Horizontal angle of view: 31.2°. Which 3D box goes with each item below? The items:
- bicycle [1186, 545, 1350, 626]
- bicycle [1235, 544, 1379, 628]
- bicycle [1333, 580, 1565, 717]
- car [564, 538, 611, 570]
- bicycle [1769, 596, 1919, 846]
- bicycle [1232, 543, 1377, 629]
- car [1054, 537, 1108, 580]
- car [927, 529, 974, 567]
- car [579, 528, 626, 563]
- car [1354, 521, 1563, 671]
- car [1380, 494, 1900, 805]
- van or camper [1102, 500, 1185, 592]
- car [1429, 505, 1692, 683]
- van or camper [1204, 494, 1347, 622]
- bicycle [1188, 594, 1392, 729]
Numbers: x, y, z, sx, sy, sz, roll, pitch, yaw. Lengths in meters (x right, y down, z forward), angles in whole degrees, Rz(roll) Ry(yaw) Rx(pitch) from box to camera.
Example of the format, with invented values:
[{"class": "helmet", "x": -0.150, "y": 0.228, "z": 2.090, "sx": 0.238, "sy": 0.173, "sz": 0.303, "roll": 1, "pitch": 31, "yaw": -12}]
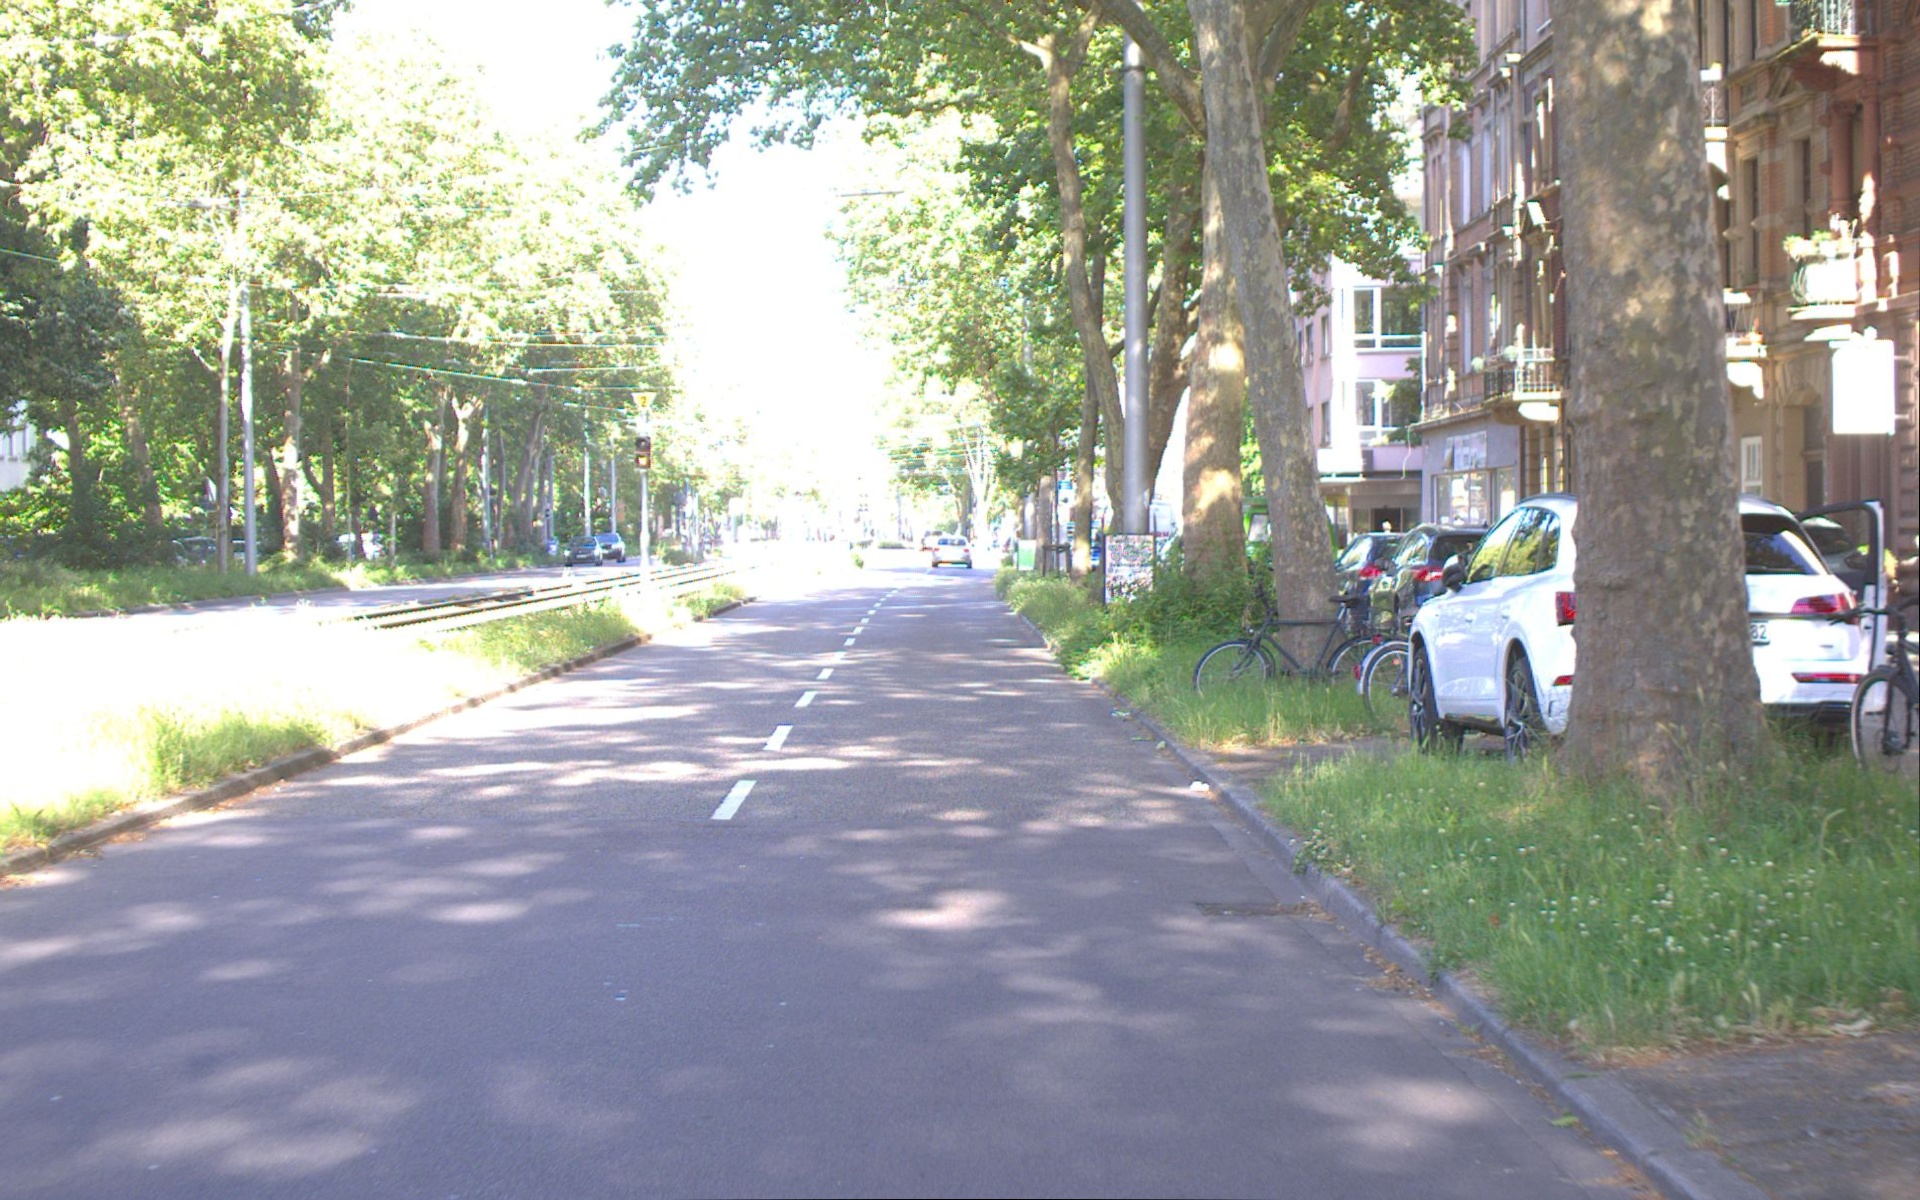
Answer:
[{"class": "bicycle", "x": 5.125, "y": -0.244, "z": 57.251, "sx": 2.548, "sy": 1.290, "sz": 0.975, "roll": 1, "pitch": 1, "yaw": -7}, {"class": "bicycle", "x": 5.494, "y": -0.232, "z": 54.589, "sx": 2.164, "sy": 1.290, "sz": 0.983, "roll": 1, "pitch": 1, "yaw": 0}, {"class": "bicycle", "x": 3.515, "y": 0.333, "z": 24.635, "sx": 1.759, "sy": 0.924, "sz": 0.654, "roll": -1, "pitch": 1, "yaw": -41}, {"class": "car", "x": -18.744, "y": -2.298, "z": 173.024, "sx": 1.795, "sy": 1.503, "sz": 4.339, "roll": -3, "pitch": 1, "yaw": 1}, {"class": "bicycle", "x": 3.962, "y": 0.465, "z": 14.342, "sx": 0.639, "sy": 0.922, "sz": 2.165, "roll": 0, "pitch": 1, "yaw": -1}, {"class": "bicycle", "x": 5.348, "y": -0.219, "z": 53.439, "sx": 2.164, "sy": 1.290, "sz": 0.983, "roll": 1, "pitch": 1, "yaw": 2}, {"class": "car", "x": 4.422, "y": -1.529, "z": 126.120, "sx": 1.683, "sy": 1.508, "sz": 3.668, "roll": 1, "pitch": 1, "yaw": -3}, {"class": "car", "x": -0.431, "y": -2.304, "z": 152.426, "sx": 2.021, "sy": 1.656, "sz": 4.000, "roll": 0, "pitch": 1, "yaw": -1}, {"class": "car", "x": -20.070, "y": -3.094, "z": 193.209, "sx": 1.993, "sy": 1.864, "sz": 4.873, "roll": -2, "pitch": 1, "yaw": 1}, {"class": "car", "x": 5.482, "y": -0.090, "z": 38.317, "sx": 1.695, "sy": 1.502, "sz": 4.582, "roll": 0, "pitch": 2, "yaw": 0}, {"class": "car", "x": 3.883, "y": 0.209, "z": 20.530, "sx": 1.902, "sy": 1.630, "sz": 4.825, "roll": 0, "pitch": 1, "yaw": -3}, {"class": "van or camper", "x": 5.205, "y": -1.527, "z": 98.238, "sx": 2.184, "sy": 2.472, "sz": 6.268, "roll": 2, "pitch": 1, "yaw": 2}, {"class": "car", "x": 5.574, "y": -0.111, "z": 32.387, "sx": 1.695, "sy": 1.525, "sz": 4.262, "roll": 0, "pitch": 2, "yaw": 0}, {"class": "van or camper", "x": 5.509, "y": -0.748, "z": 60.554, "sx": 1.833, "sy": 2.090, "sz": 4.775, "roll": 3, "pitch": 1, "yaw": -2}, {"class": "bicycle", "x": 2.620, "y": 0.484, "z": 27.280, "sx": 1.594, "sy": 1.055, "sz": 0.404, "roll": 0, "pitch": 1, "yaw": 7}]
